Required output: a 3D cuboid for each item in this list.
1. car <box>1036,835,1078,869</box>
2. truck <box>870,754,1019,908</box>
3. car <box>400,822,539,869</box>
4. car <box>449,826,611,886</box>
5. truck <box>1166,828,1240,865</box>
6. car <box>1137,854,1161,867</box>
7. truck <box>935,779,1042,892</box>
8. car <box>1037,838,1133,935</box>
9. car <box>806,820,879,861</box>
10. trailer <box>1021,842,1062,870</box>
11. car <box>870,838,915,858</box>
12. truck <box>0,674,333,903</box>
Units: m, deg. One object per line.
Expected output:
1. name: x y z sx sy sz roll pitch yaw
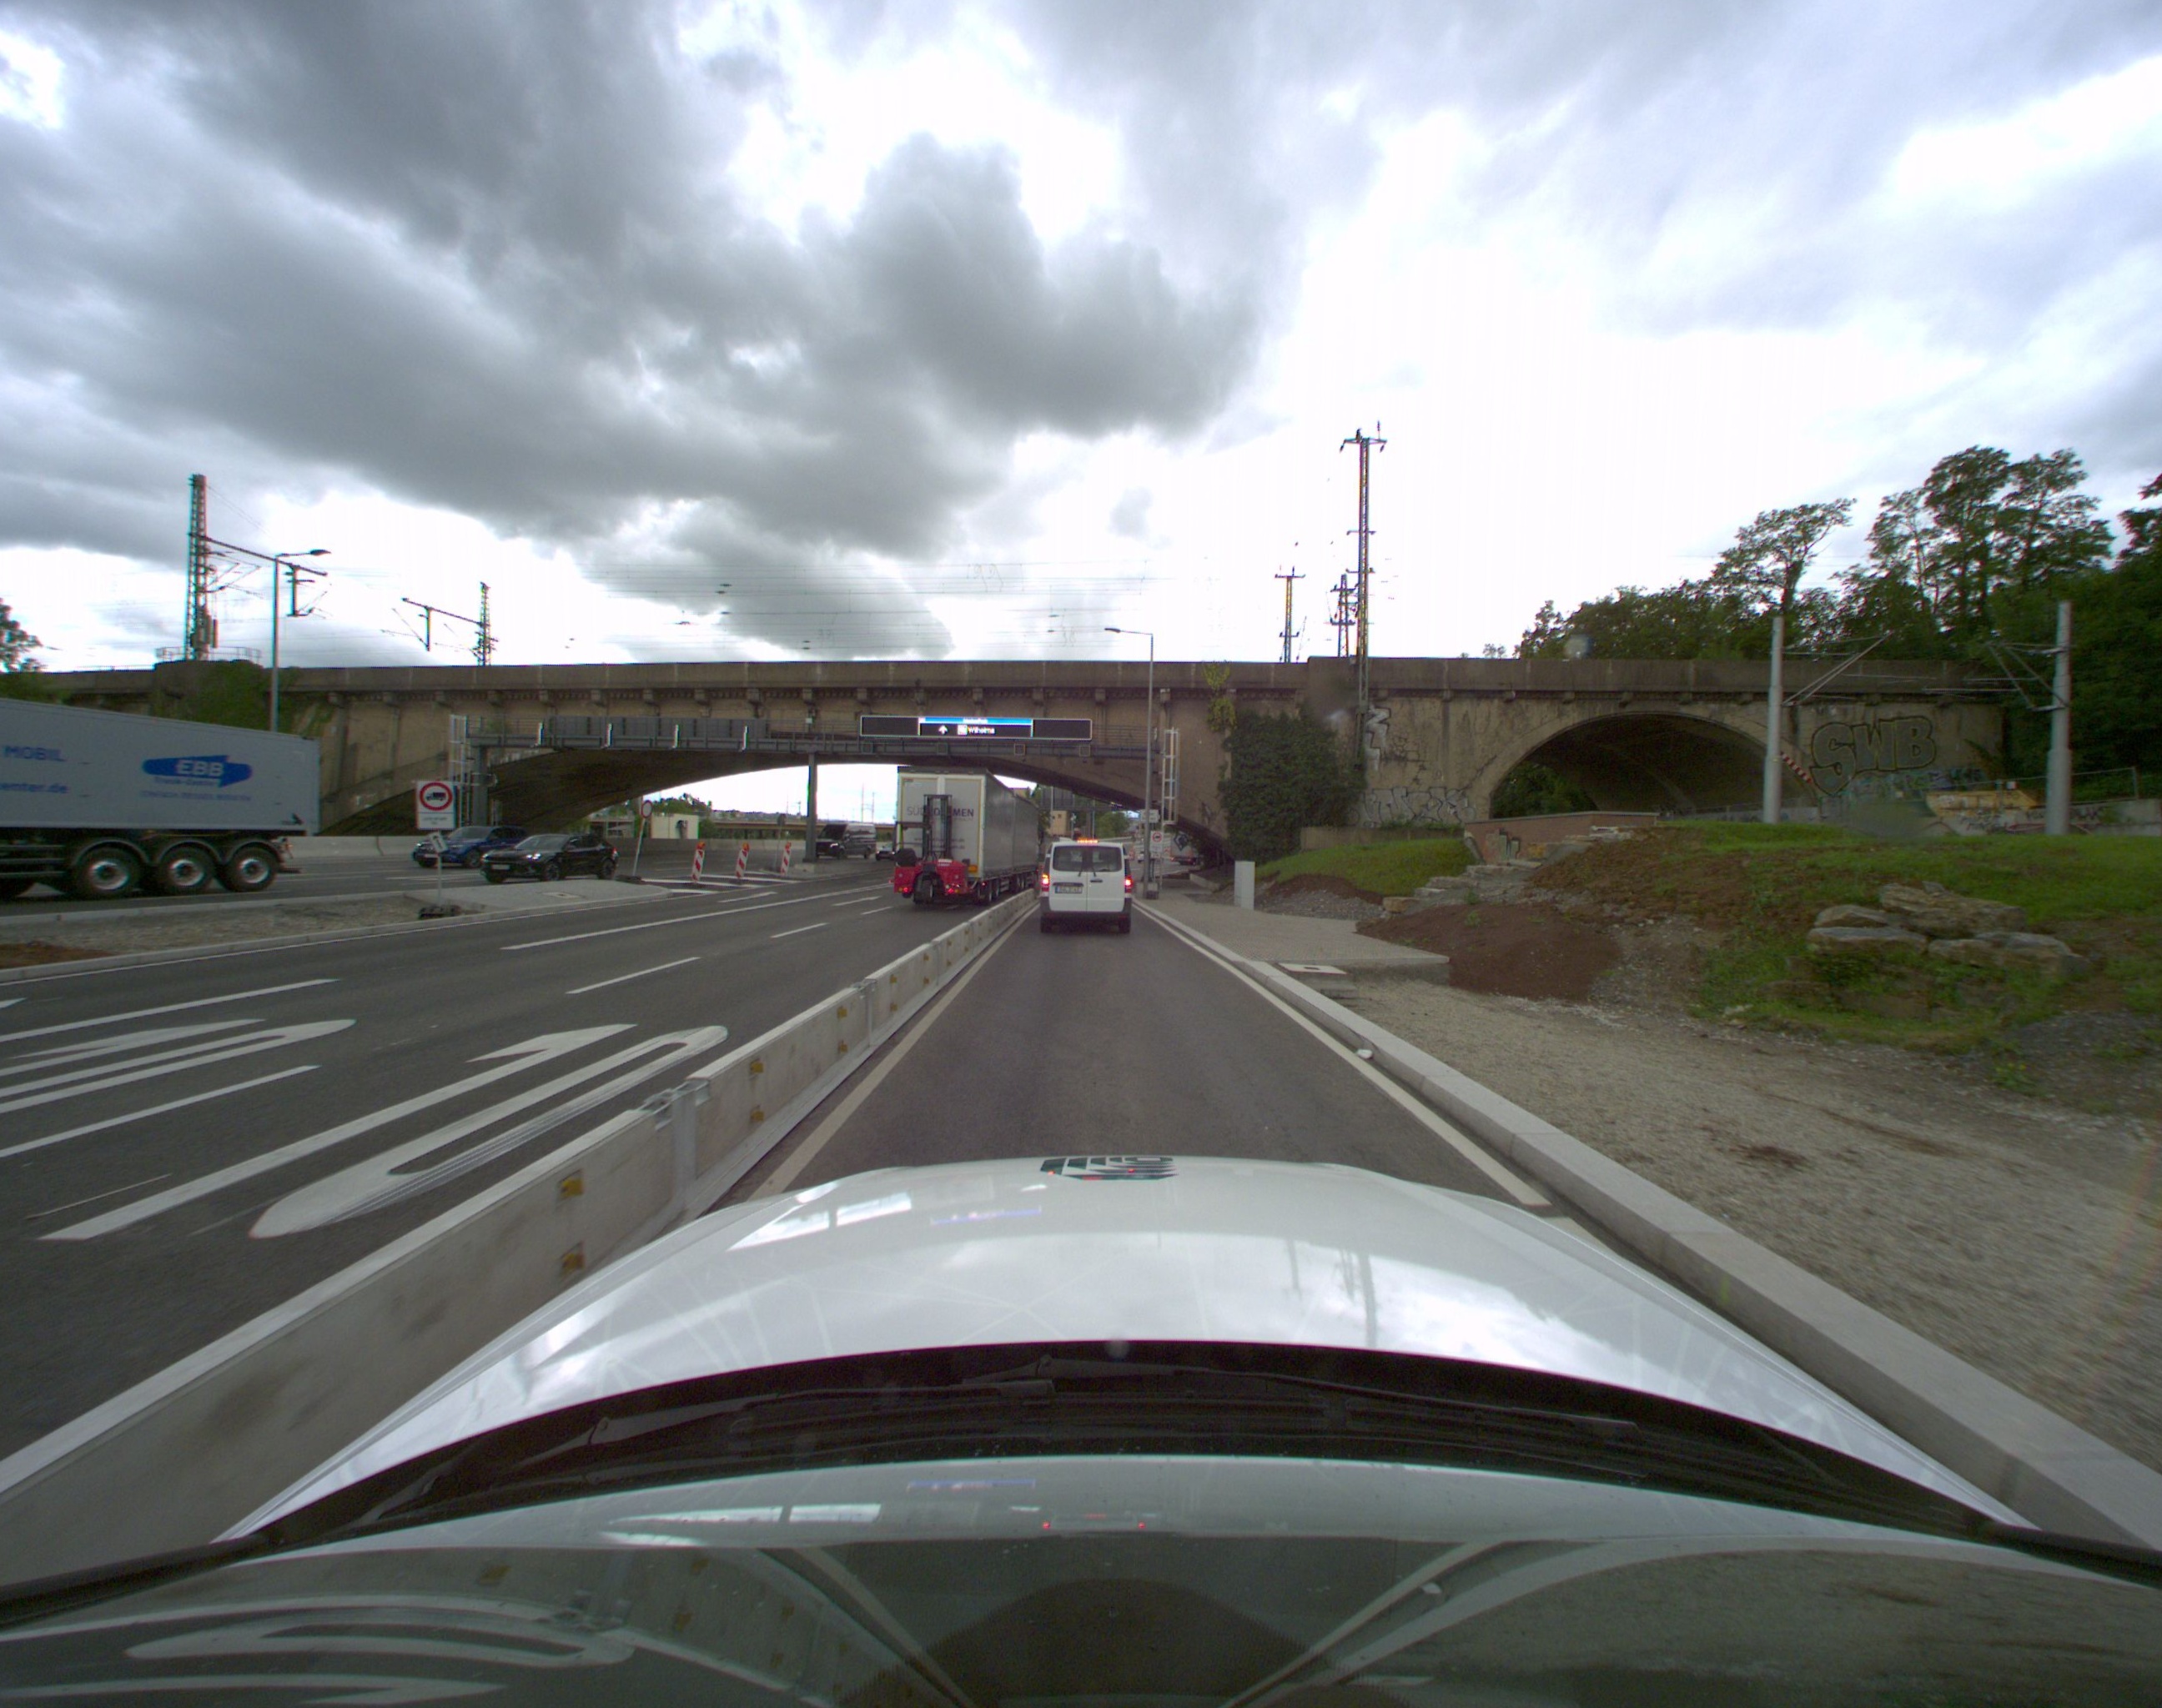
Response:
1. car: -1.860 -0.191 65.426 1.980 2.541 5.192 4 1 12
2. truck: -4.031 -0.531 26.780 2.908 4.017 10.200 2 -1 1
3. car: -23.507 -0.343 31.560 1.879 1.683 4.490 0 1 2
4. car: -16.506 0.028 24.708 1.699 1.620 4.454 -2 1 2
5. truck: 14.490 -0.757 94.823 3.287 3.809 16.691 3 1 27
6. car: 7.566 0.733 90.729 1.359 1.376 3.483 1 1 27
7. truck: -3.790 -0.582 36.630 2.976 4.176 11.244 2 -1 2
8. car: 0.148 0.625 18.226 1.869 1.891 4.754 0 0 1
9. car: -16.920 -0.973 58.225 2.200 2.776 6.167 1 1 13
10. trailer: -2.912 0.127 60.888 1.980 1.957 4.092 4 1 12
11. car: -13.550 -0.404 58.796 1.876 1.331 4.263 -2 -1 5
12. truck: -20.696 -1.162 13.598 2.887 4.061 14.002 1 1 3
